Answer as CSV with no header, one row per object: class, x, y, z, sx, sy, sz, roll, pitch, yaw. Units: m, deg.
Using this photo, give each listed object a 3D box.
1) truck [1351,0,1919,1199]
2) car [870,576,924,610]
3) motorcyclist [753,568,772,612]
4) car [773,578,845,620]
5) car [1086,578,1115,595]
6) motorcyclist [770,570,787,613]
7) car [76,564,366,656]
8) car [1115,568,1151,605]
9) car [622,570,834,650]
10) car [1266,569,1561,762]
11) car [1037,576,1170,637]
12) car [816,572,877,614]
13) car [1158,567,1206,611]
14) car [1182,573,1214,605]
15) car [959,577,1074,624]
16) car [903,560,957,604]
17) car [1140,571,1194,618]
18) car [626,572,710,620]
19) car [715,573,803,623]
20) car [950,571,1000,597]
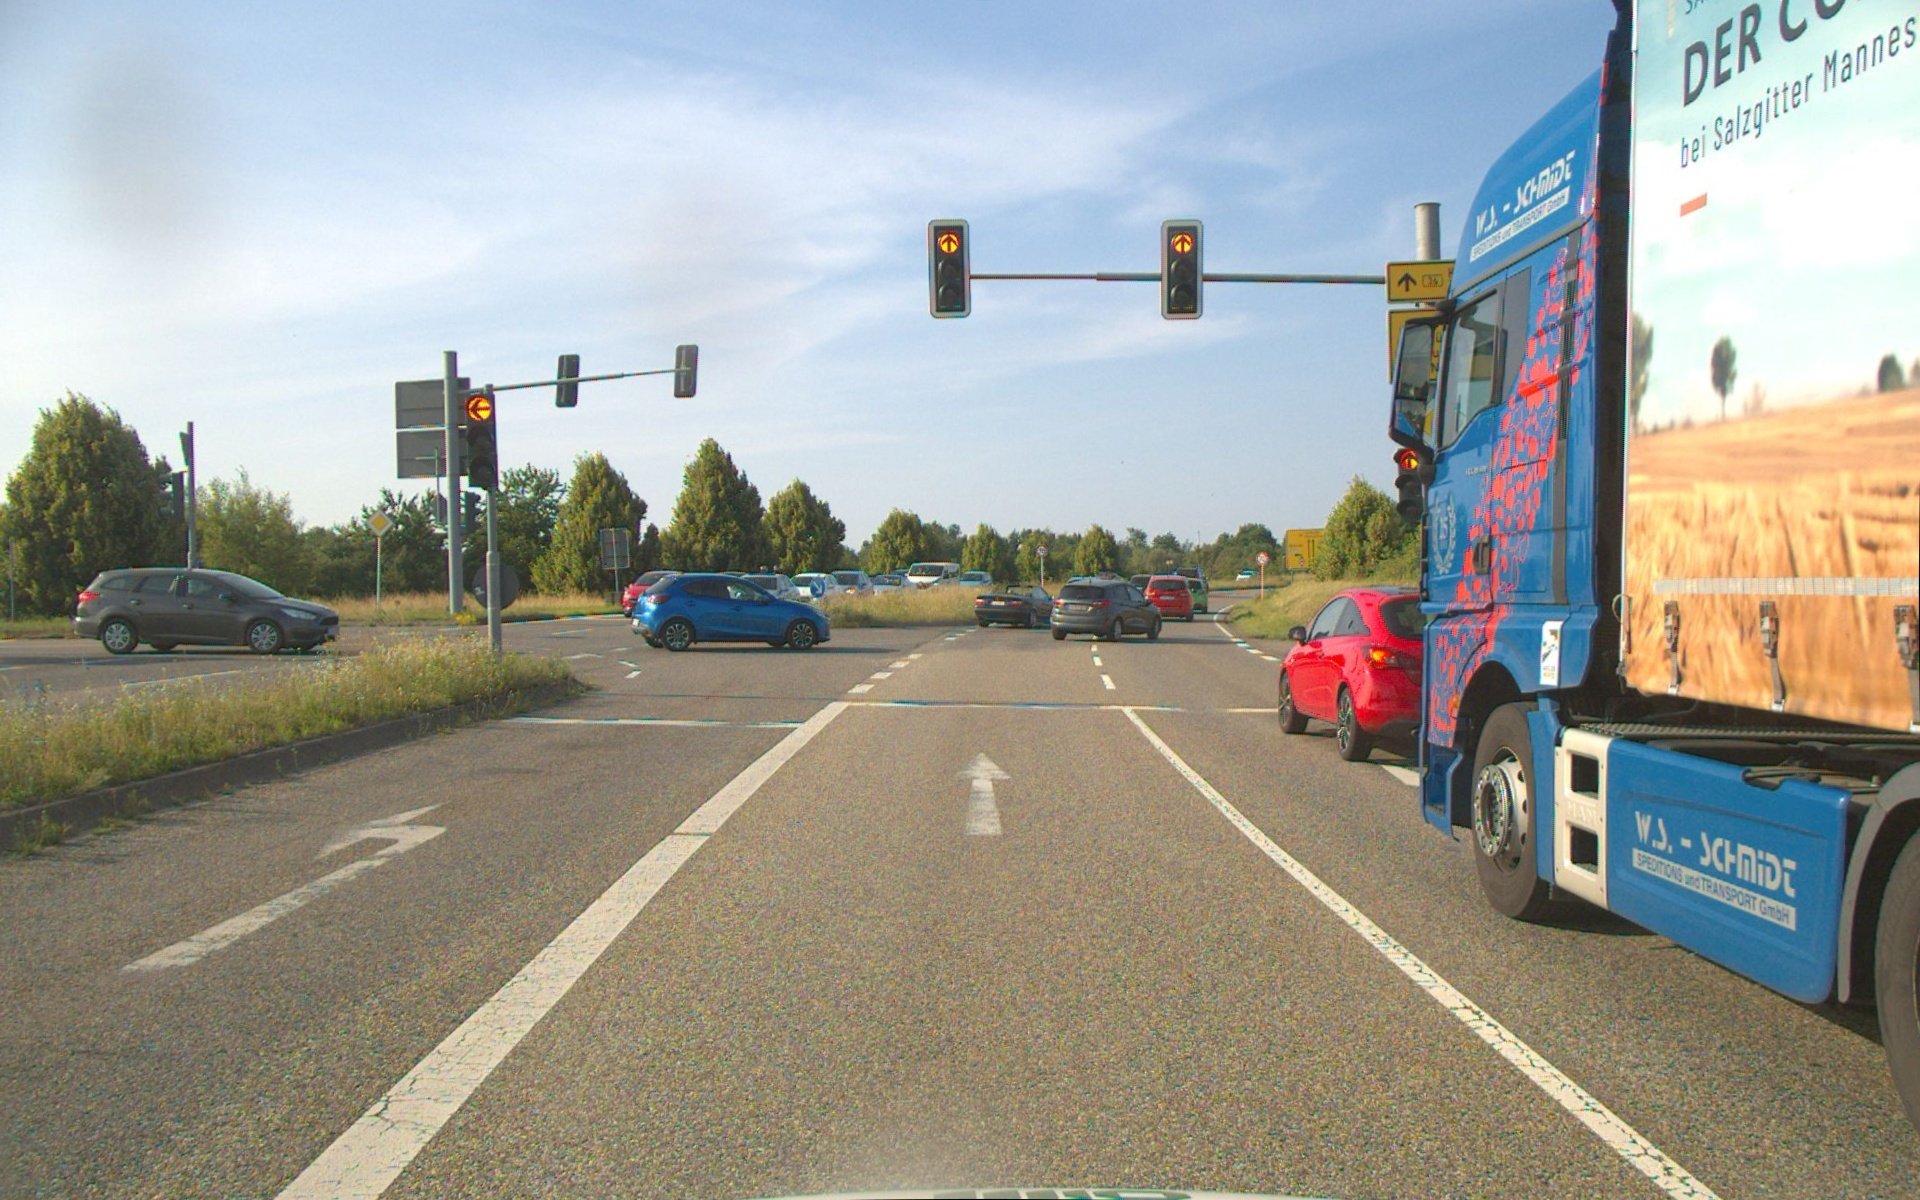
truck,3.913,-0.866,6.521,3.233,4.739,5.730,0,0,-2
car,-2.720,-0.315,72.546,1.748,1.410,4.054,0,1,7
motorcyclist,-7.958,-0.413,66.638,0.648,1.778,0.605,0,0,-1
car,-5.455,-0.069,60.122,1.748,1.458,4.312,0,1,7
car,12.310,-1.175,144.761,1.748,1.410,4.054,0,1,16
motorcyclist,-7.779,-0.378,70.958,0.648,1.848,0.605,0,0,-1
car,-13.283,0.162,29.890,4.421,1.593,1.816,0,0,3
car,9.564,-0.725,91.552,1.868,1.949,4.280,0,-1,4
car,-4.640,0.175,33.073,3.916,1.518,1.767,0,1,-22
car,4.086,0.521,15.496,1.662,1.576,3.749,0,1,-1
car,3.596,0.173,40.955,1.879,1.440,3.788,0,-1,30
car,-4.523,-0.300,66.421,1.748,1.596,4.054,0,1,7
car,9.495,-0.443,70.889,1.868,1.831,4.280,0,-1,6
car,14.031,-0.626,97.575,1.868,1.764,4.281,0,-1,8
car,1.742,0.036,49.411,1.871,1.346,4.274,0,-1,26
car,-1.435,-0.875,81.827,1.884,2.114,4.247,0,1,10
car,7.405,-0.167,59.291,1.855,1.592,4.281,0,-1,7
car,-9.666,-0.154,55.040,1.684,1.514,3.807,0,1,8
car,-6.378,-0.089,52.985,1.748,1.514,4.655,0,1,7
car,0.859,-0.887,92.195,1.748,1.410,4.054,0,1,16
